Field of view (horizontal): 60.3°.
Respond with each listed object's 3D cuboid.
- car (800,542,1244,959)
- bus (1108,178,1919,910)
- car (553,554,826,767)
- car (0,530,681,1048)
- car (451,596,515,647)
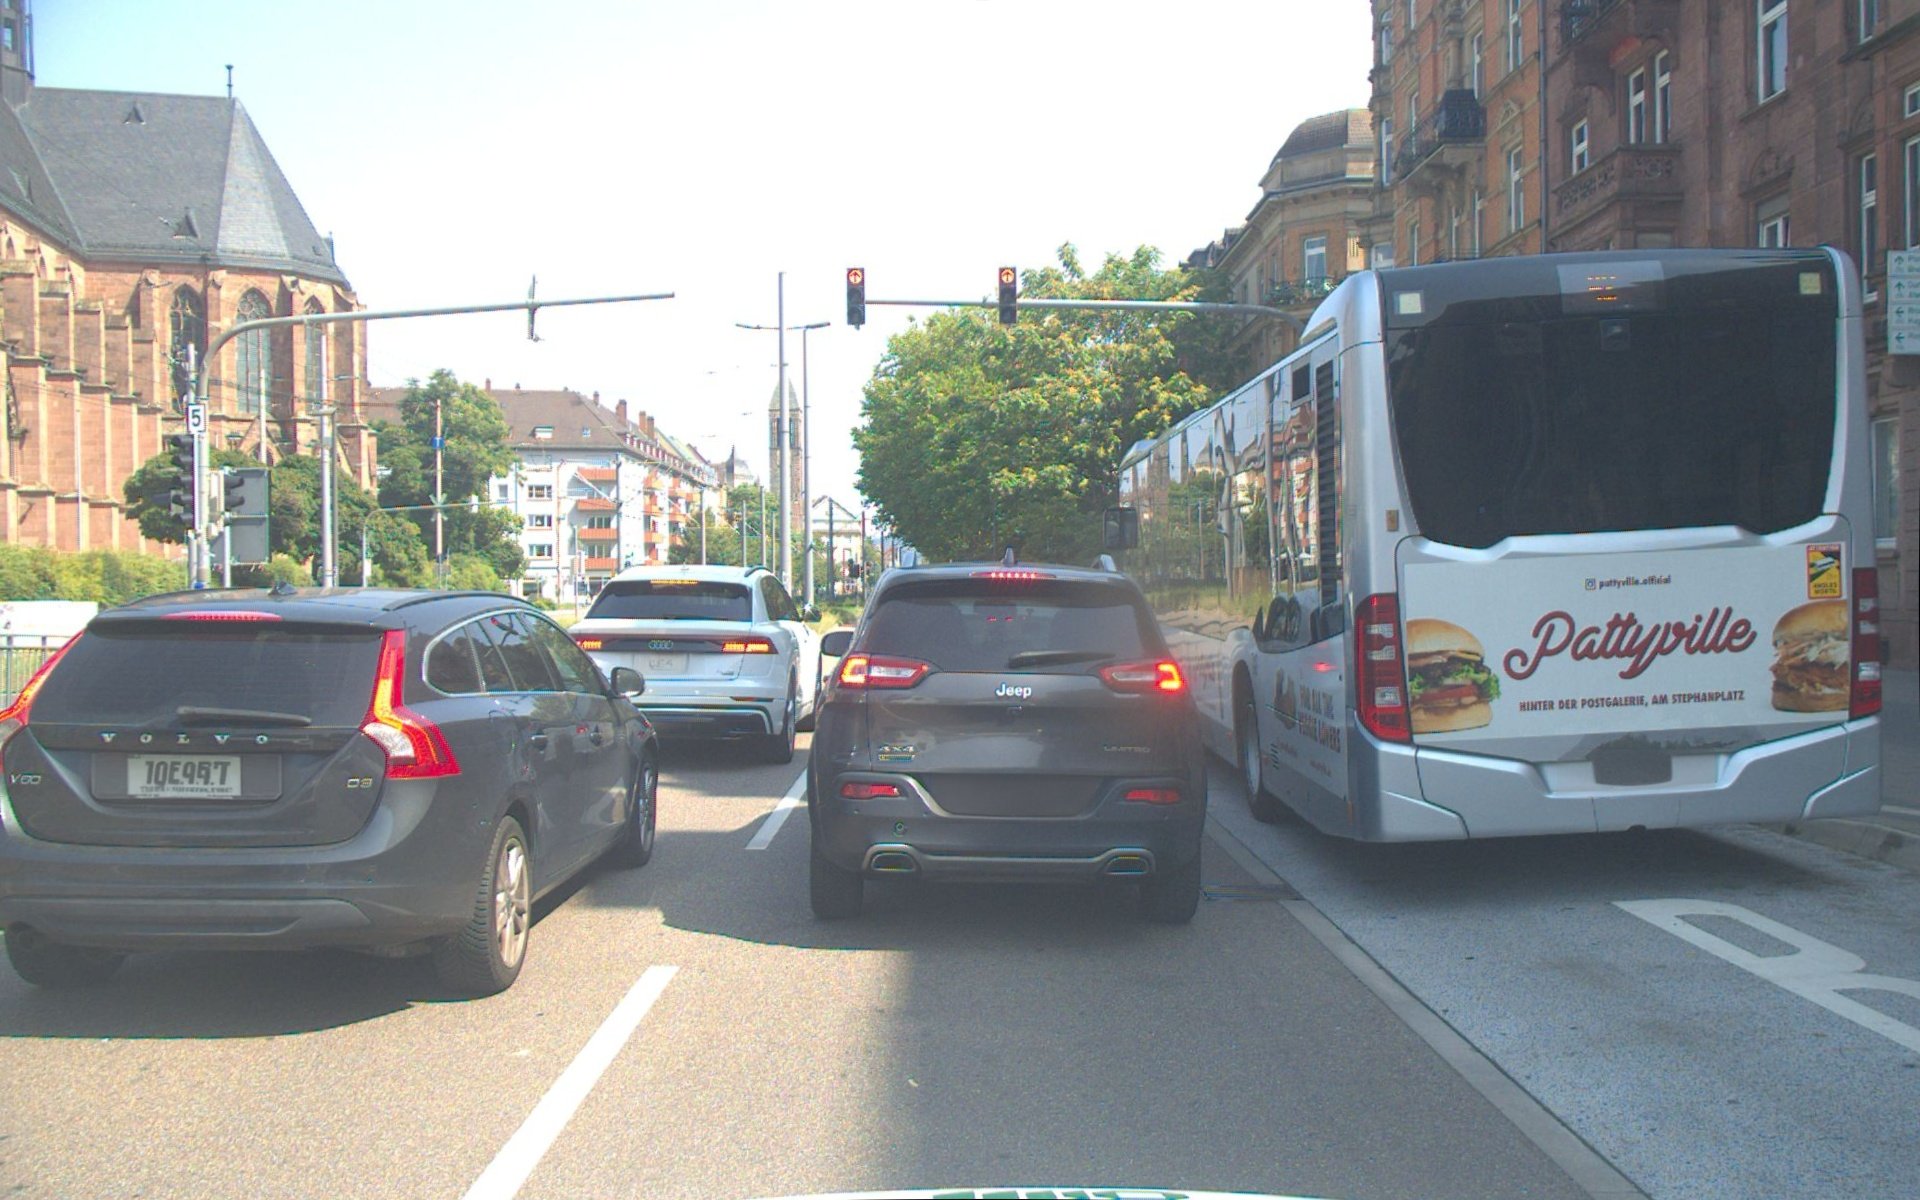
[{"bbox_3d":[0.261,0.597,8.895,1.795,1.680,4.308,1,0,0],"label":"car"},{"bbox_3d":[3.123,-0.276,13.461,2.687,3.161,11.956,-3,0,0],"label":"bus"},{"bbox_3d":[-2.312,0.458,15.245,1.863,1.680,4.308,0,1,-1],"label":"car"},{"bbox_3d":[-2.455,0.589,7.433,1.712,1.642,4.307,1,0,-1],"label":"car"},{"bbox_3d":[-15.102,0.643,52.276,1.720,1.460,4.548,-2,1,-18],"label":"car"}]
